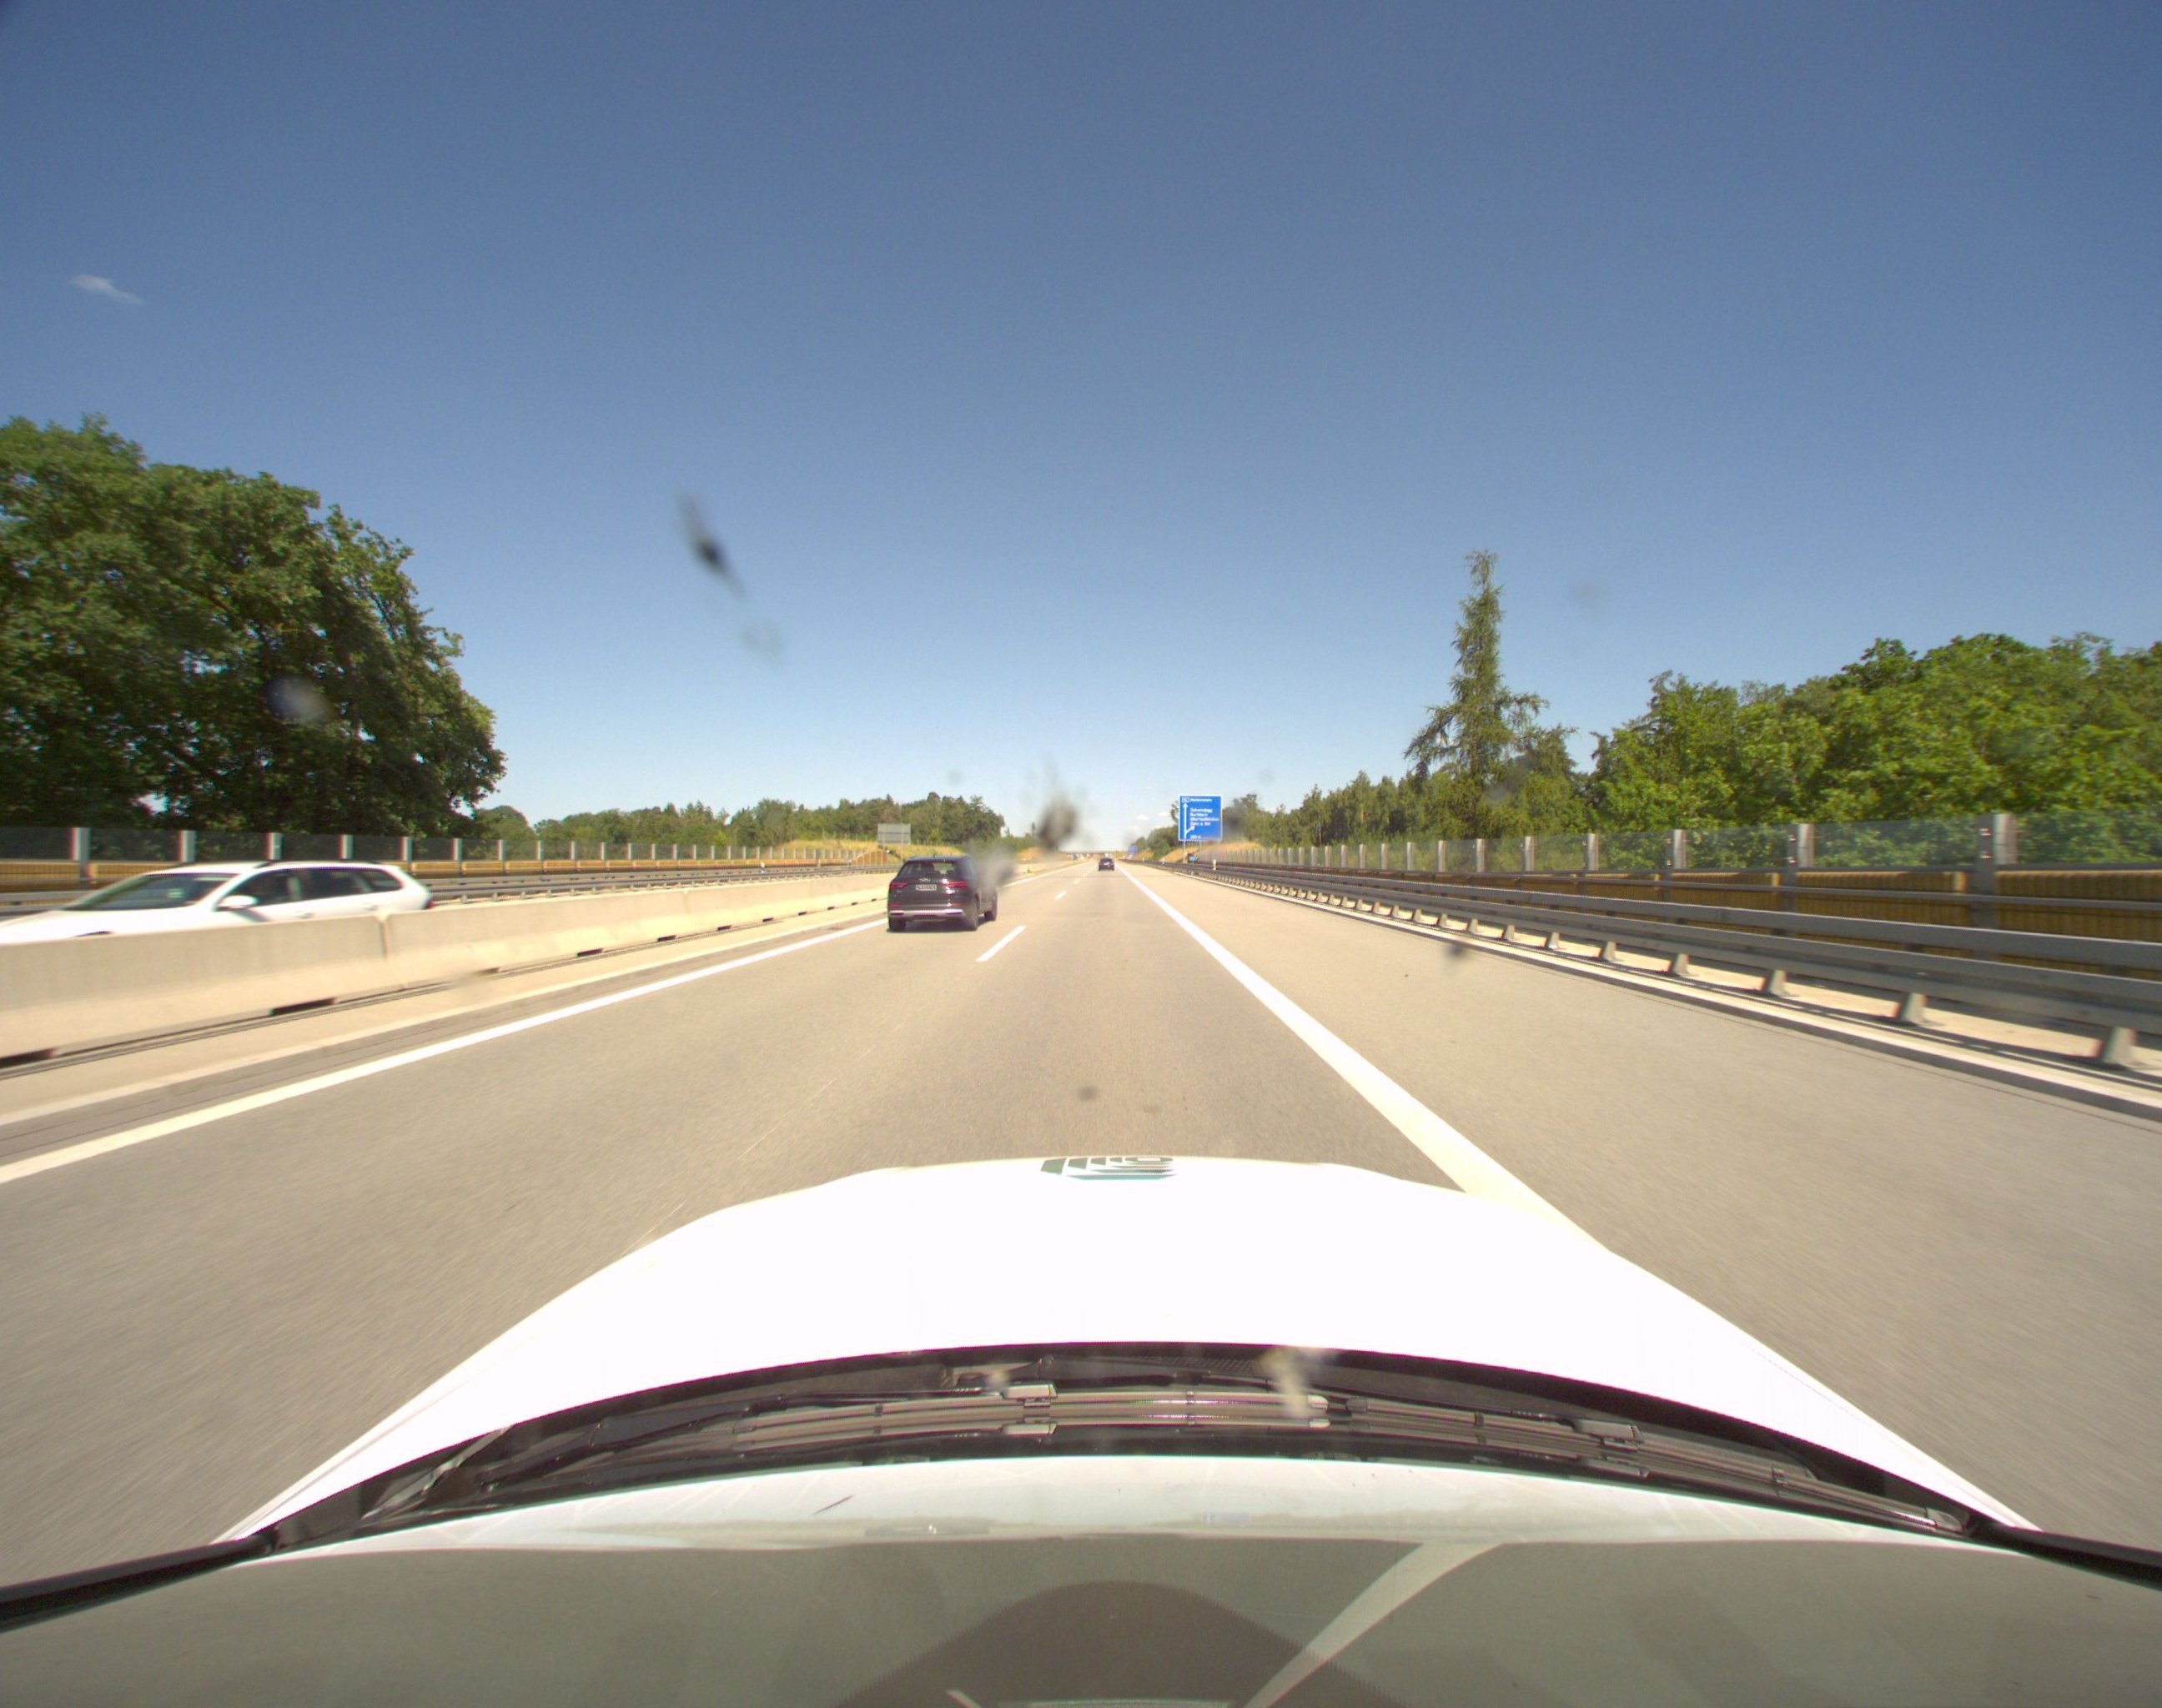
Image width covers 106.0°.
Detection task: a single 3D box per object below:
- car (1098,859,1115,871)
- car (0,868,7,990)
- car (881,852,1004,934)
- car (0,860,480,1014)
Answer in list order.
[{"bbox_3d":[2.882,1.213,90.947,1.783,1.374,3.919,0,0,2],"label":"car"},{"bbox_3d":[-13.756,0.892,7.564,1.574,1.458,4.451,-1,0,1],"label":"car"},{"bbox_3d":[-2.973,0.777,18.659,1.715,1.587,5.225,-1,0,2],"label":"car"},{"bbox_3d":[-10.301,0.846,10.401,1.721,1.502,4.626,-1,0,1],"label":"car"}]
